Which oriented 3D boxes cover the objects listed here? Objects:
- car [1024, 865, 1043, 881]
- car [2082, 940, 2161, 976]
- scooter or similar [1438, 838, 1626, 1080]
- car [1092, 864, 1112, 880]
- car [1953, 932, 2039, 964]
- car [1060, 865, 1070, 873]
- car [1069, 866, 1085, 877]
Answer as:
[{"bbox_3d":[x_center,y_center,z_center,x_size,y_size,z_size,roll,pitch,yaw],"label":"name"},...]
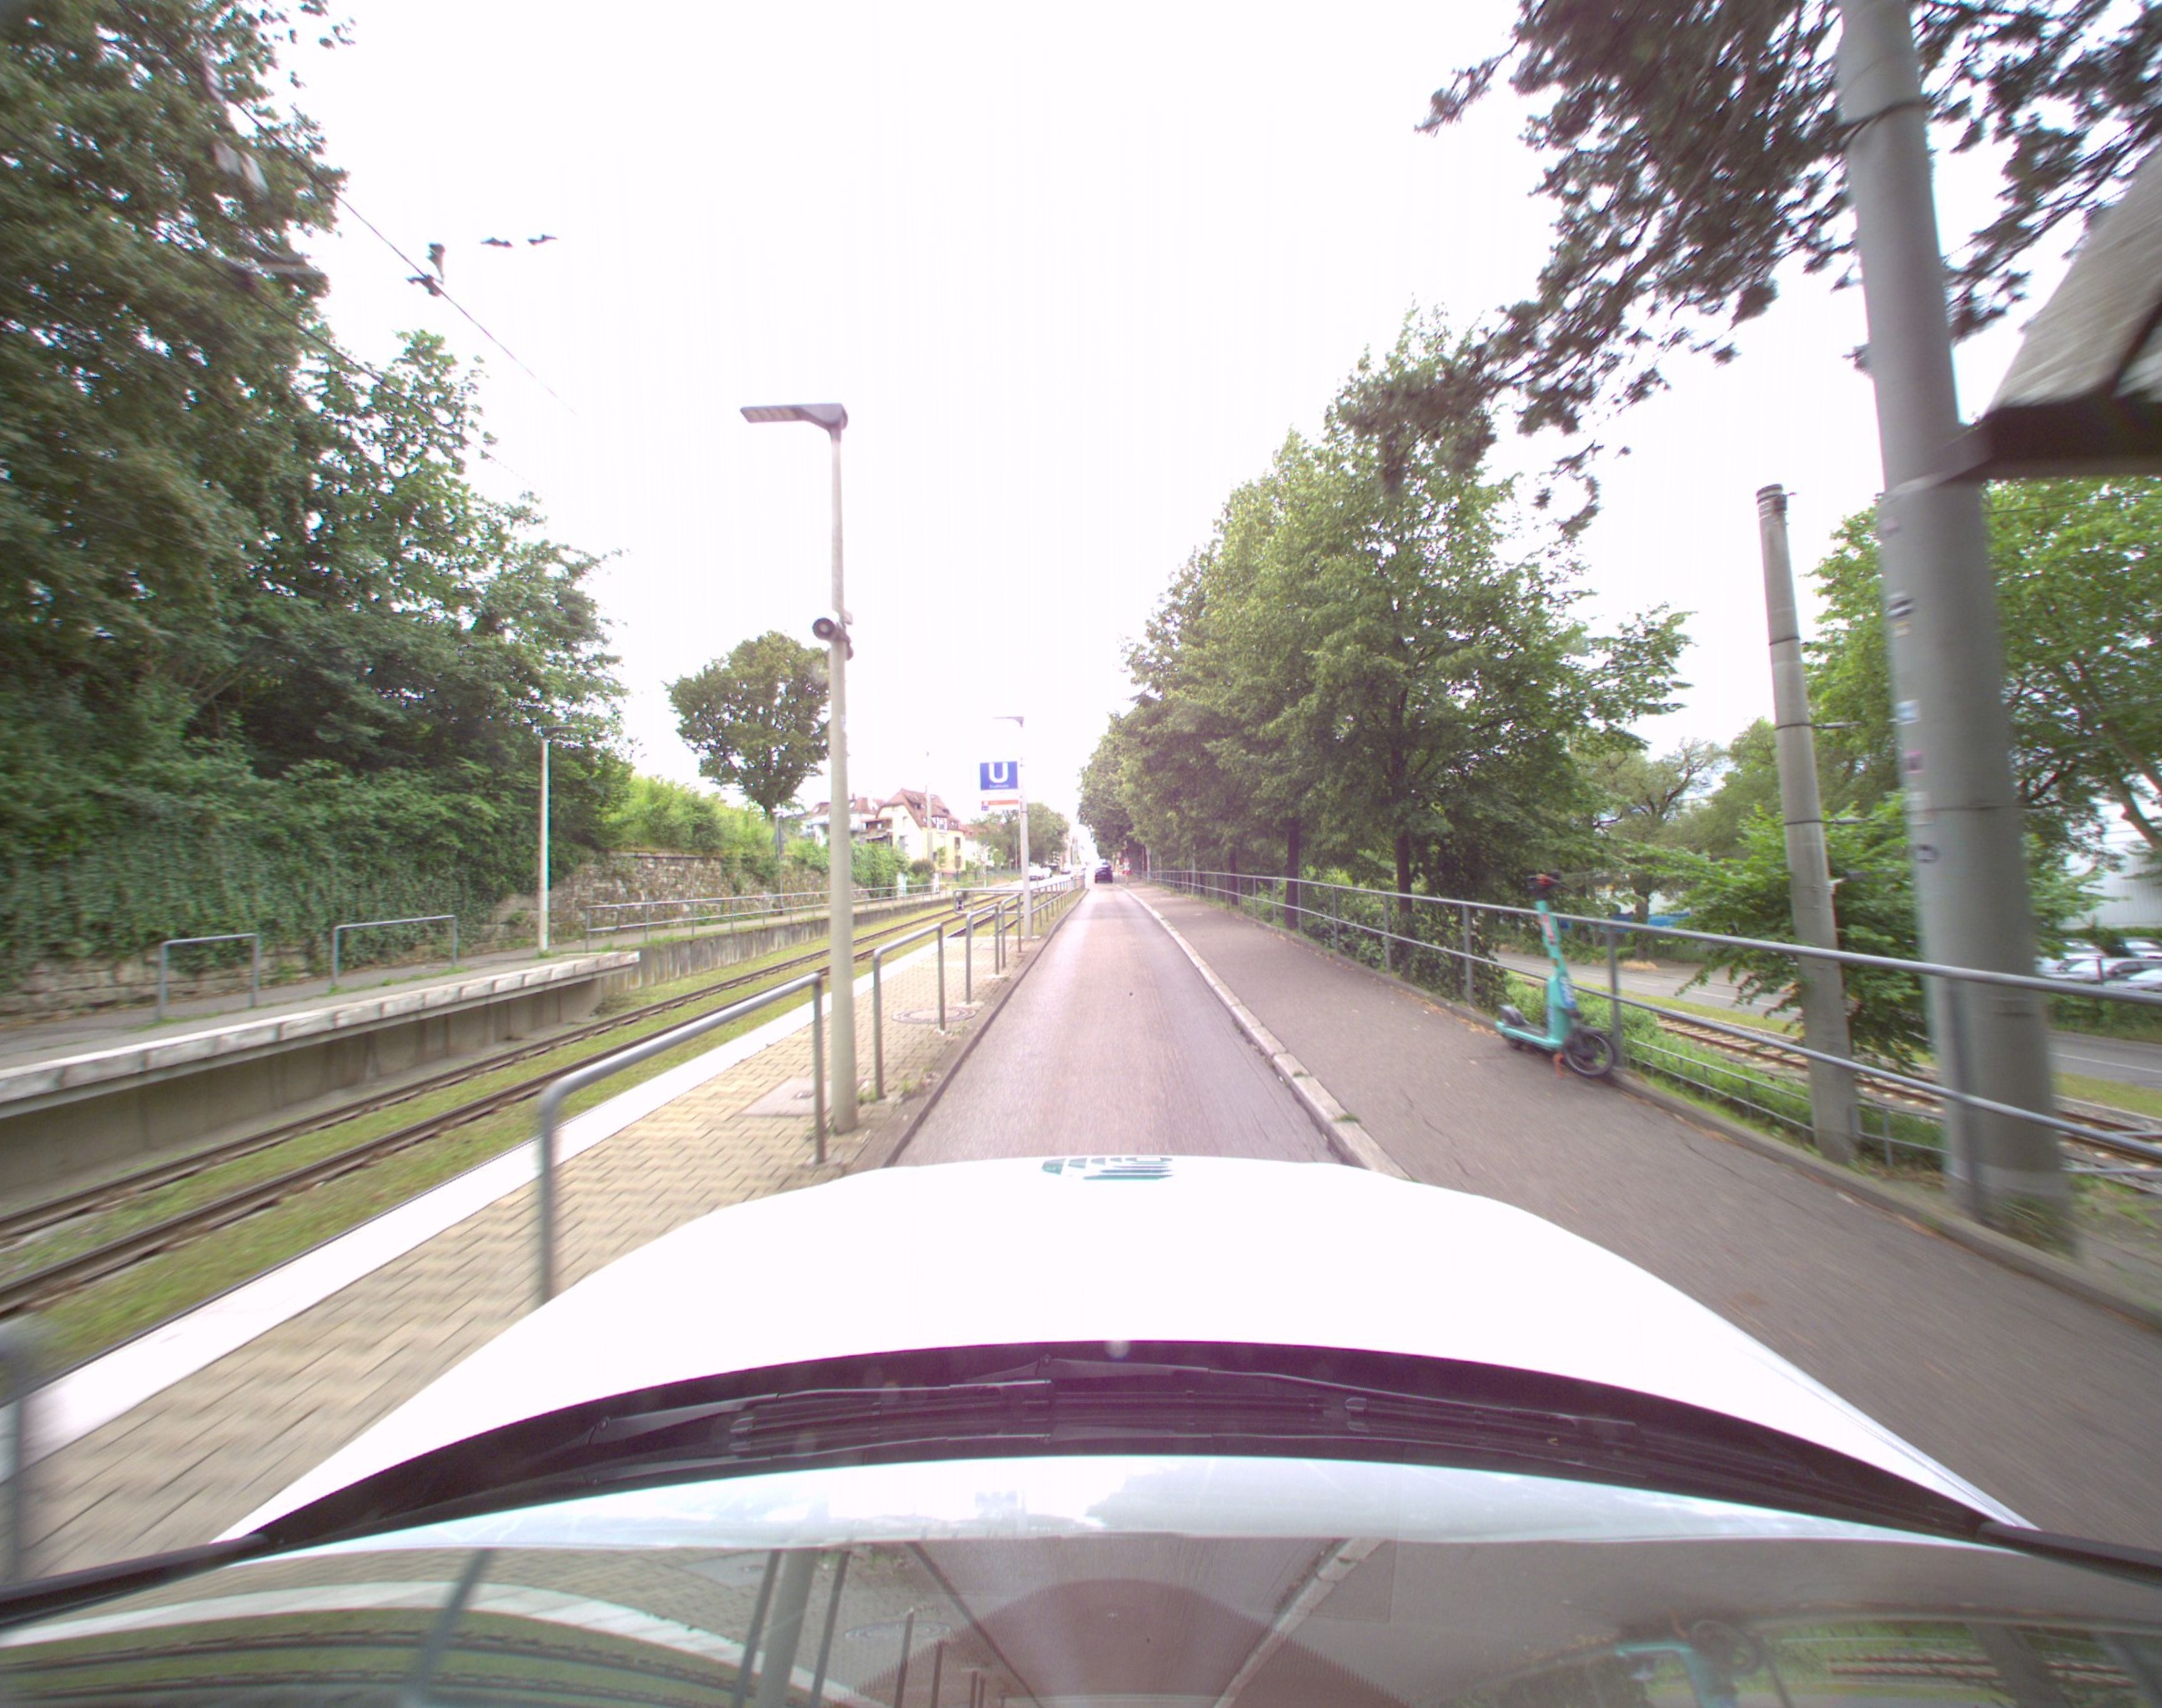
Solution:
[{"bbox_3d":[-6.289,2.492,108.250,2.029,1.881,4.884,-5,-2,0],"label":"car"},{"bbox_3d":[56.870,5.579,44.018,1.974,1.468,4.370,-2,-2,30],"label":"car"},{"bbox_3d":[2.920,0.625,5.433,0.428,1.384,1.455,-1,-2,1],"label":"scooter or similar"},{"bbox_3d":[2.187,1.797,82.434,1.896,1.615,4.603,-1,-1,3],"label":"car"},{"bbox_3d":[53.218,5.434,47.465,1.974,1.468,4.370,-2,-2,30],"label":"car"},{"bbox_3d":[-3.770,3.512,188.789,1.985,1.808,4.003,-2,-2,3],"label":"car"},{"bbox_3d":[-0.470,2.293,105.992,1.986,1.499,4.313,0,-2,1],"label":"car"}]
